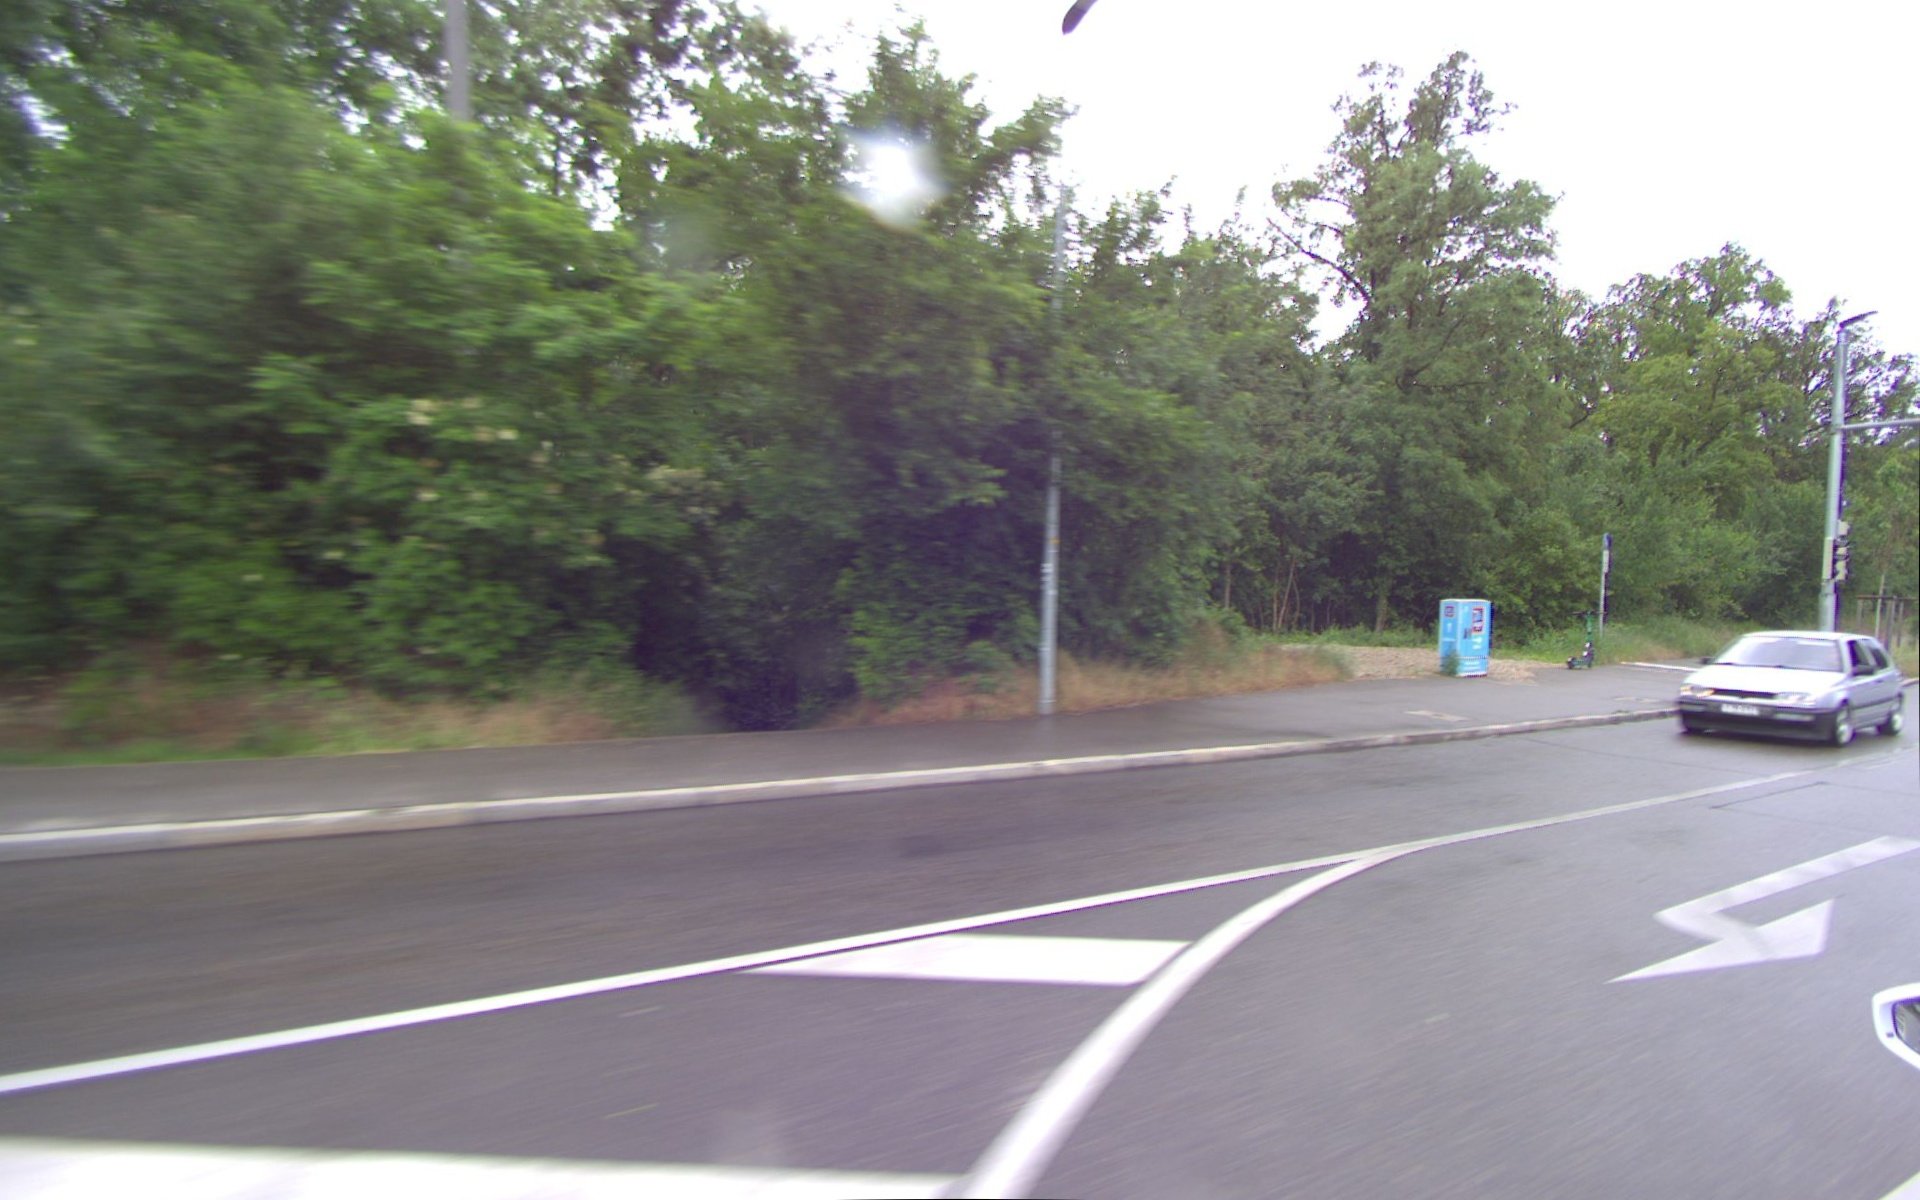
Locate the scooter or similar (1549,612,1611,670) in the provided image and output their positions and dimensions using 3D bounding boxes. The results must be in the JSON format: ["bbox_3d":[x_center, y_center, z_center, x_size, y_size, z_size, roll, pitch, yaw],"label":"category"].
[{"bbox_3d":[13.646,0.896,22.097,1.452,1.229,0.514,1,2,-31],"label":"scooter or similar"}]

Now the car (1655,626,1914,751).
[{"bbox_3d":[11.312,1.088,13.693,4.168,1.370,1.729,1,1,-36],"label":"car"}]
